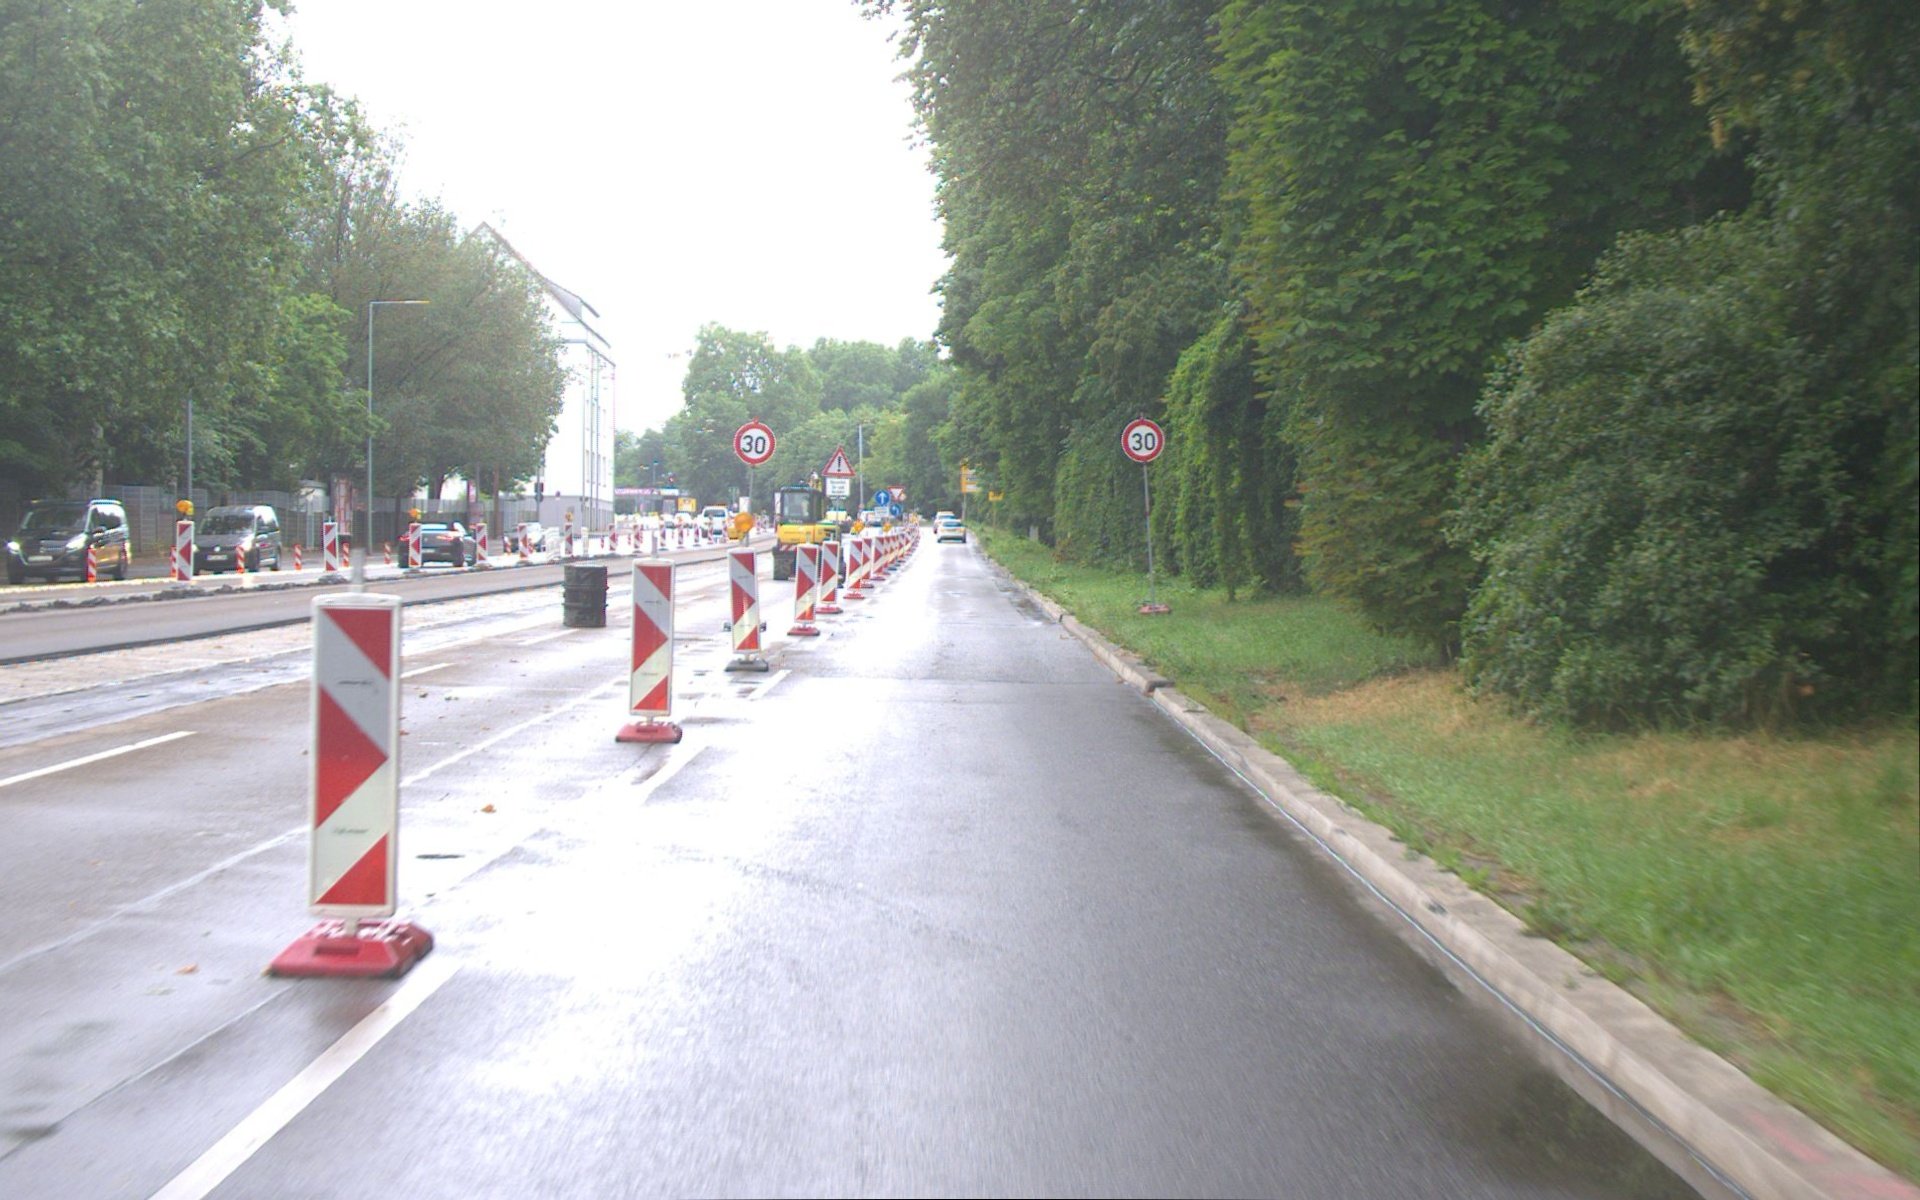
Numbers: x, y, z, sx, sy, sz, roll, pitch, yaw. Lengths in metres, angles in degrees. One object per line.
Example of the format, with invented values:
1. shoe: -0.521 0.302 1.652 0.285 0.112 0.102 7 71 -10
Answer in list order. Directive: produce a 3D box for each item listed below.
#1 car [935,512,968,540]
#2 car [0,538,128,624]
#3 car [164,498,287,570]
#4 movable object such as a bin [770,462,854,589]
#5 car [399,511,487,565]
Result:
1. car: -0.495 -4.590 213.553 1.993 1.667 4.000 1 1 0
2. car: -21.319 -0.483 81.483 1.993 1.912 5.365 1 1 -1
3. car: -19.162 -1.726 89.907 1.993 1.774 4.954 1 1 2
4. movable object such as a bin: -4.074 -2.060 95.651 1.993 3.356 5.982 1 1 0
5. car: -15.228 -1.824 101.501 1.993 1.514 4.000 1 1 0
